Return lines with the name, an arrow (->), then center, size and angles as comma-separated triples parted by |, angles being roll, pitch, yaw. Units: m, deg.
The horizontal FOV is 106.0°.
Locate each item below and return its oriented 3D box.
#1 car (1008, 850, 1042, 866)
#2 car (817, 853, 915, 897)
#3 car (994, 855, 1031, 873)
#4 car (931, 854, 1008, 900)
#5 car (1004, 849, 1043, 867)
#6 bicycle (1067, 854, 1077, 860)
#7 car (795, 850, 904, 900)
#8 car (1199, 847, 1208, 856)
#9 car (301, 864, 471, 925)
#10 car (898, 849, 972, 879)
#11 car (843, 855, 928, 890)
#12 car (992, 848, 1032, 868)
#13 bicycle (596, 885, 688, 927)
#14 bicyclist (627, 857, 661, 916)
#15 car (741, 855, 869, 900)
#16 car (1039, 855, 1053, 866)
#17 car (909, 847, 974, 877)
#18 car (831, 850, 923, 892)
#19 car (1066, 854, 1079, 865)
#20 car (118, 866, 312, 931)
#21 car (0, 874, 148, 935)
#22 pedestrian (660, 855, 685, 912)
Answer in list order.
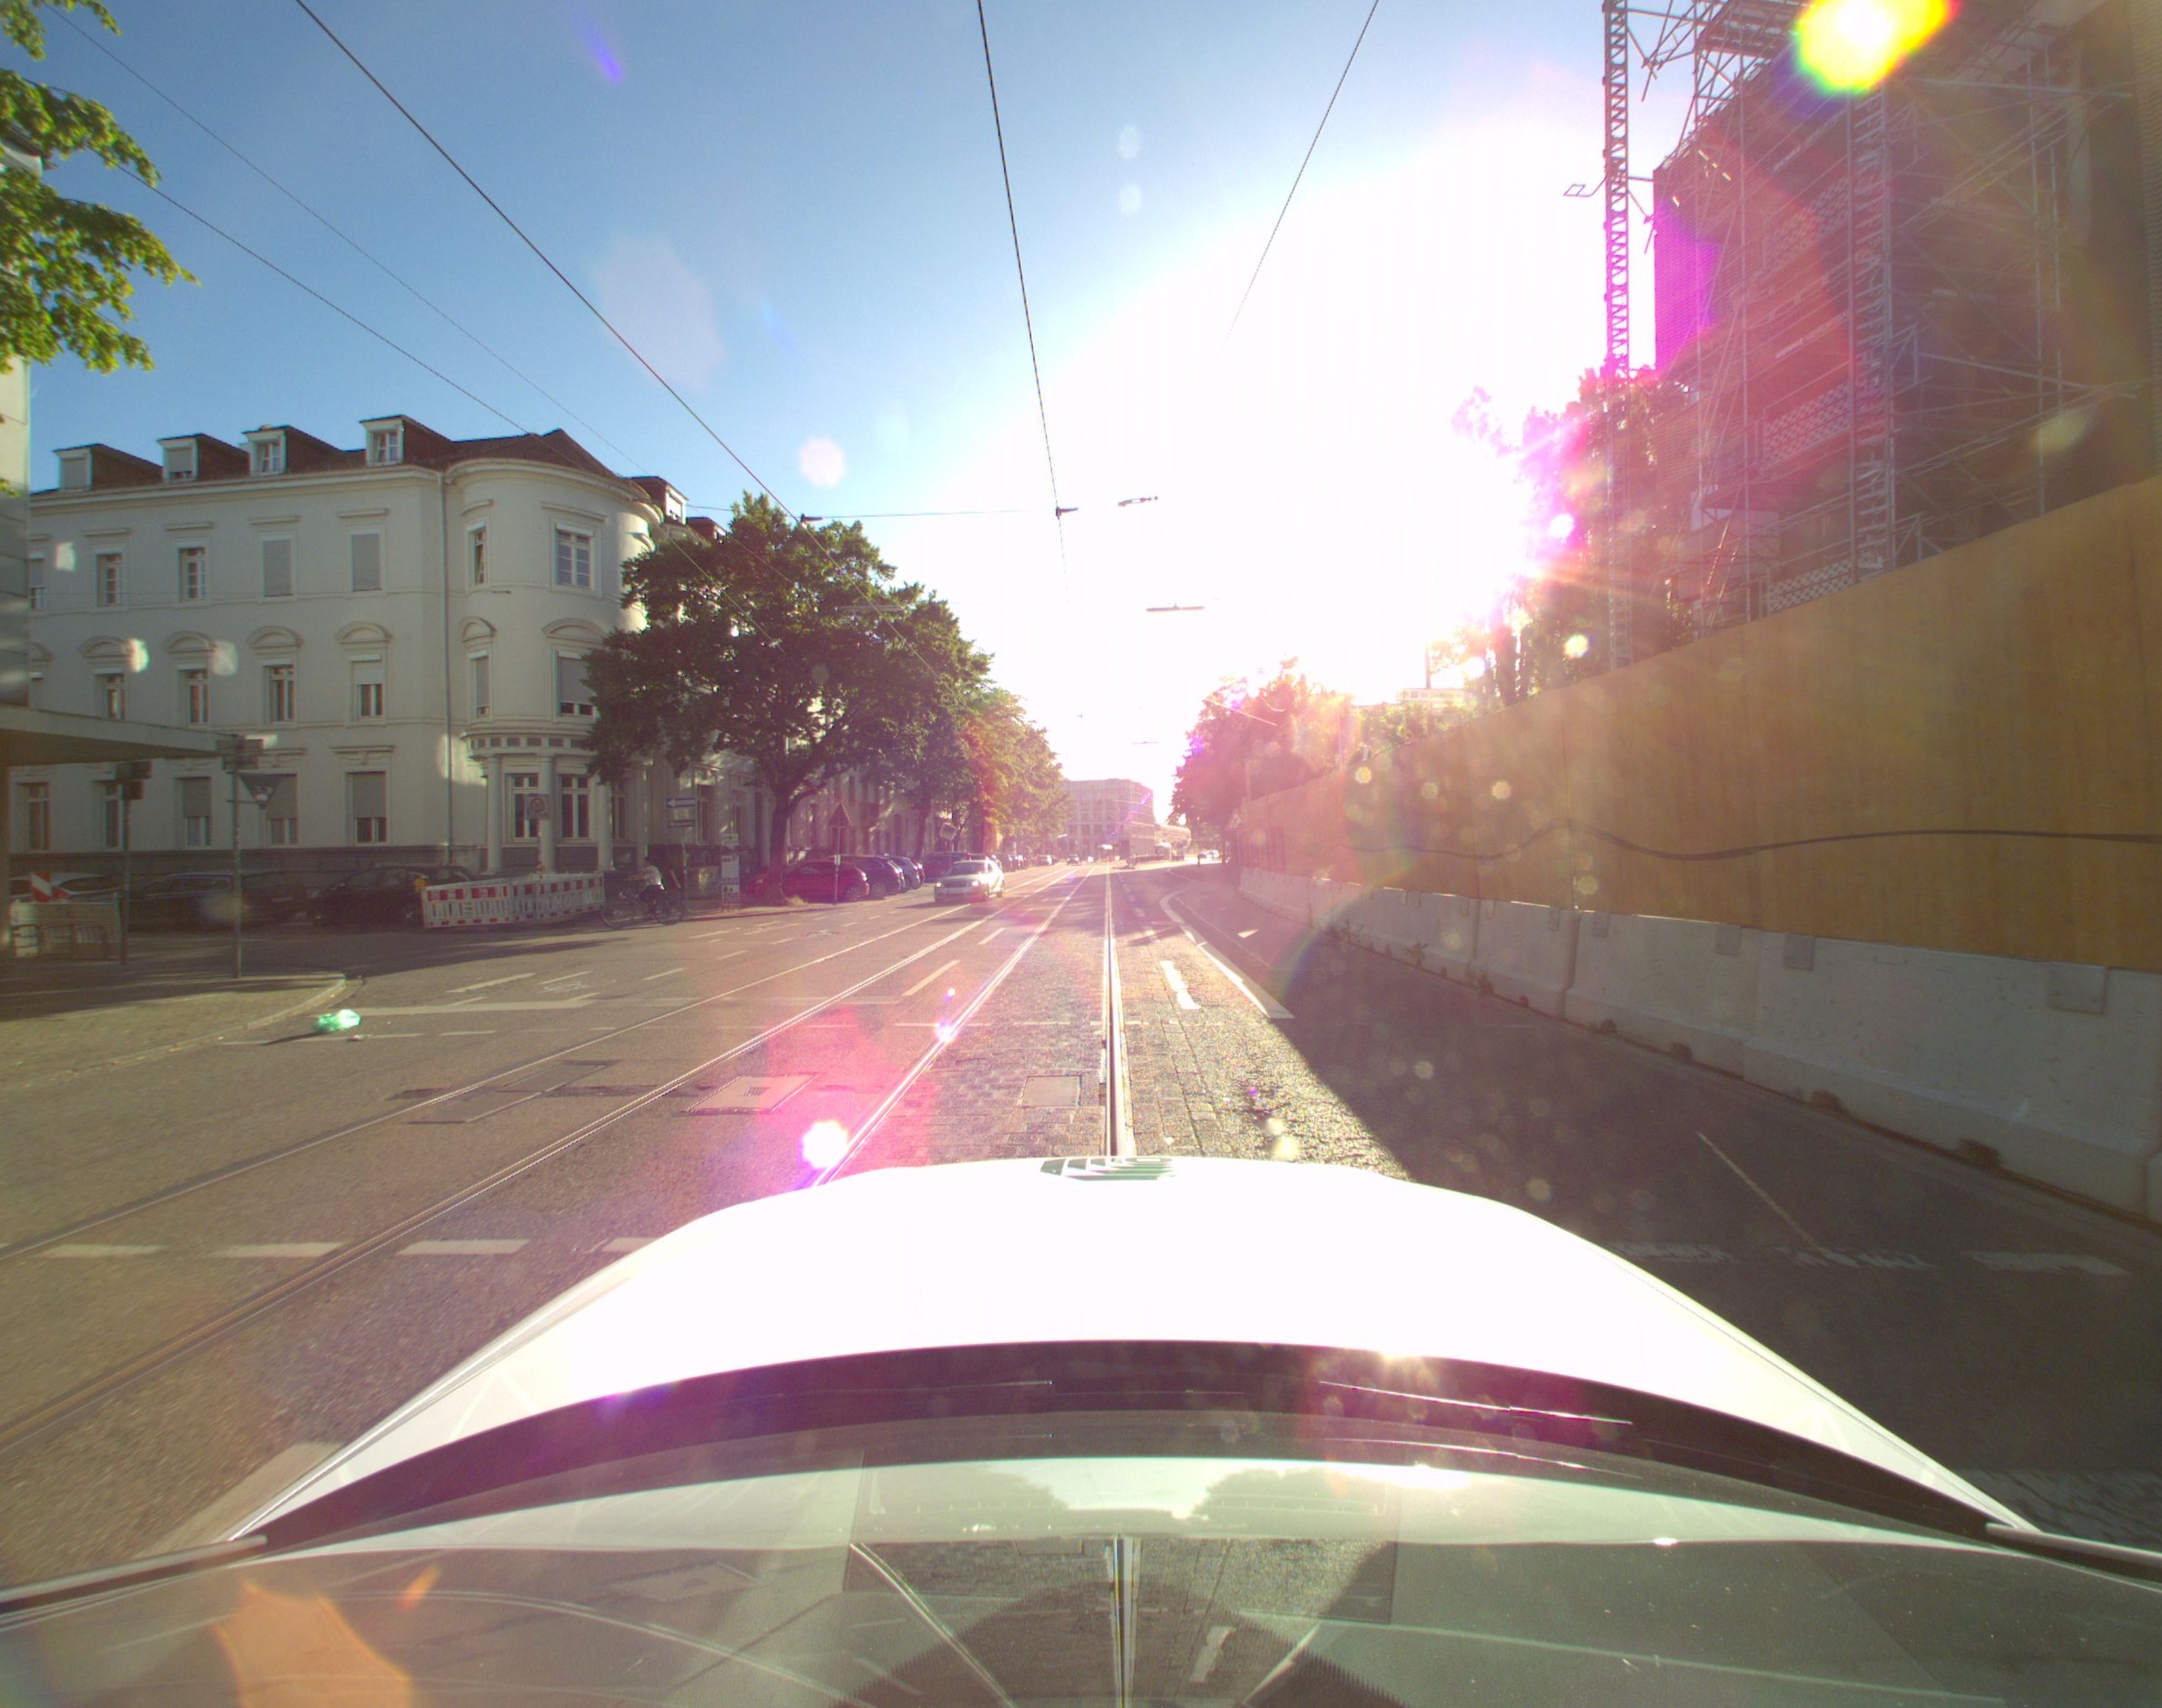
car -> -5.889, 0.404, 85.708 | 3.283, 1.585, 1.460 | -2, 0, -21
car -> -8.944, 0.858, 33.937 | 3.579, 1.662, 1.720 | -1, 0, -32
car -> -6.565, 0.934, 78.253 | 3.283, 1.585, 1.460 | -1, 0, -21
car -> -3.834, 0.764, 28.727 | 1.701, 1.436, 4.178 | -2, 0, 6
car -> -5.412, 0.348, 76.573 | 3.283, 1.585, 1.460 | -1, 0, -21
bicycle -> -1.625, 0.556, 149.954 | 1.791, 1.224, 0.598 | -1, 0, -7
car -> -8.819, 0.758, 31.106 | 3.700, 1.721, 1.595 | -2, 0, -34
car -> 28.639, -0.669, 190.514 | 1.981, 2.013, 4.012 | -1, 0, 11
car -> -17.876, 1.022, 21.012 | 3.222, 1.443, 1.478 | -1, 0, 6
car -> -8.860, 0.611, 49.529 | 4.181, 1.720, 1.570 | -1, 0, -26
car -> -9.482, 0.859, 39.602 | 3.700, 1.527, 1.468 | -2, 0, -34
car -> -6.215, 0.370, 72.878 | 3.283, 1.698, 1.460 | -1, 0, -21
bicycle -> -10.626, 1.233, 19.749 | 1.910, 0.881, 0.445 | -2, 0, -38
bicyclist -> -10.600, 0.772, 19.753 | 0.644, 1.378, 0.454 | -2, 0, -38
car -> -9.529, 0.769, 28.181 | 3.927, 1.453, 1.622 | 0, -1, -32
car -> -4.944, 0.847, 116.047 | 1.567, 1.490, 4.002 | -1, 0, 2
car -> -9.006, 0.517, 52.602 | 3.850, 1.832, 1.716 | 0, -1, -28
car -> -9.149, 0.747, 36.597 | 3.700, 1.721, 1.595 | -2, 0, -34
car -> -1.377, 0.860, 128.927 | 1.550, 1.530, 4.007 | -1, 0, 6
car -> -22.588, 1.137, 21.301 | 3.739, 1.549, 1.478 | -1, 0, 6
car -> -27.598, 1.353, 21.943 | 3.294, 1.497, 1.528 | -2, 0, 5
pedestrian -> -11.615, 0.836, 23.162 | 0.342, 1.572, 0.515 | -2, 0, 30
